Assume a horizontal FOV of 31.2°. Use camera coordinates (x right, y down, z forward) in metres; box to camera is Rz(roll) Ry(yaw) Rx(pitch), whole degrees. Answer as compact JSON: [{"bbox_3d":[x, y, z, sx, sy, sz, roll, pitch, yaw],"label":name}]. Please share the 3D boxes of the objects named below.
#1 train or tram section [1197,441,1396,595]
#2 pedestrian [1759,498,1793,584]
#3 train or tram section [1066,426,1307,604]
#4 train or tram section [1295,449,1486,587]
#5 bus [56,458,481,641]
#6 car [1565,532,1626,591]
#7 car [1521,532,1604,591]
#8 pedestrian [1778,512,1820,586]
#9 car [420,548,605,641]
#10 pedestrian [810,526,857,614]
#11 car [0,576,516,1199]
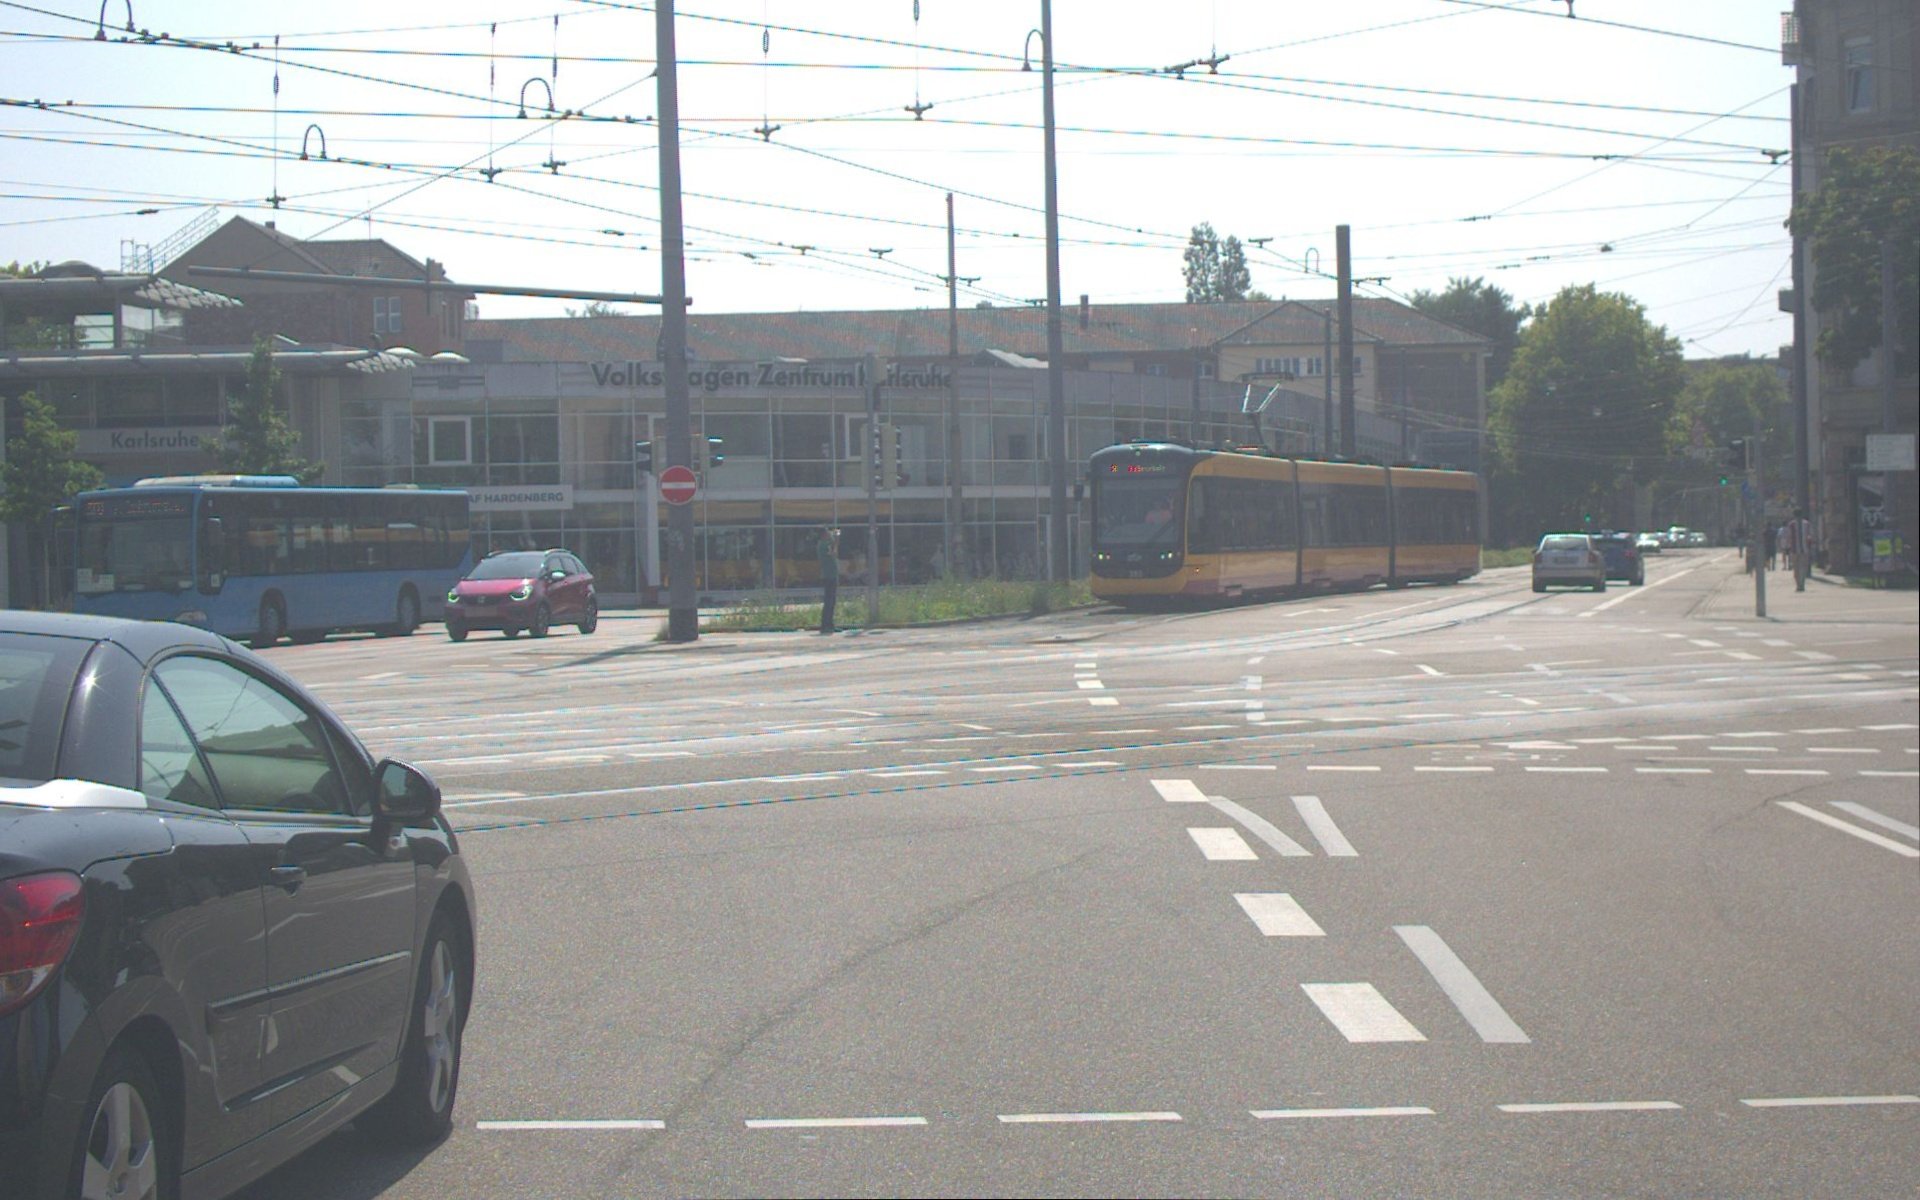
[{"bbox_3d":[8.314,-1.986,83.695,2.591,3.504,9.650,-1,1,19],"label":"train or tram section"},{"bbox_3d":[28.843,-2.103,121.546,0.983,3.007,0.974,-1,1,5],"label":"pedestrian"},{"bbox_3d":[5.038,-1.798,73.912,2.590,3.504,10.889,-1,1,18],"label":"train or tram section"},{"bbox_3d":[11.978,-2.236,94.391,2.591,3.504,12.961,-1,1,19],"label":"train or tram section"},{"bbox_3d":[-12.615,-0.982,64.419,2.564,3.072,12.015,-1,1,16],"label":"bus"},{"bbox_3d":[17.947,-1.095,96.979,1.637,1.612,3.998,-1,1,11],"label":"car"},{"bbox_3d":[15.356,-0.988,87.479,1.771,1.411,4.186,-1,1,14],"label":"car"},{"bbox_3d":[18.283,-1.119,74.881,0.699,1.597,0.573,-1,1,-9],"label":"pedestrian"},{"bbox_3d":[-7.932,-0.120,61.331,1.751,1.546,3.997,-1,1,17],"label":"car"},{"bbox_3d":[-2.085,-0.493,56.783,0.676,1.438,0.366,-1,1,-18],"label":"pedestrian"},{"bbox_3d":[-2.268,0.663,7.524,1.766,1.383,3.780,1,1,6],"label":"car"}]
